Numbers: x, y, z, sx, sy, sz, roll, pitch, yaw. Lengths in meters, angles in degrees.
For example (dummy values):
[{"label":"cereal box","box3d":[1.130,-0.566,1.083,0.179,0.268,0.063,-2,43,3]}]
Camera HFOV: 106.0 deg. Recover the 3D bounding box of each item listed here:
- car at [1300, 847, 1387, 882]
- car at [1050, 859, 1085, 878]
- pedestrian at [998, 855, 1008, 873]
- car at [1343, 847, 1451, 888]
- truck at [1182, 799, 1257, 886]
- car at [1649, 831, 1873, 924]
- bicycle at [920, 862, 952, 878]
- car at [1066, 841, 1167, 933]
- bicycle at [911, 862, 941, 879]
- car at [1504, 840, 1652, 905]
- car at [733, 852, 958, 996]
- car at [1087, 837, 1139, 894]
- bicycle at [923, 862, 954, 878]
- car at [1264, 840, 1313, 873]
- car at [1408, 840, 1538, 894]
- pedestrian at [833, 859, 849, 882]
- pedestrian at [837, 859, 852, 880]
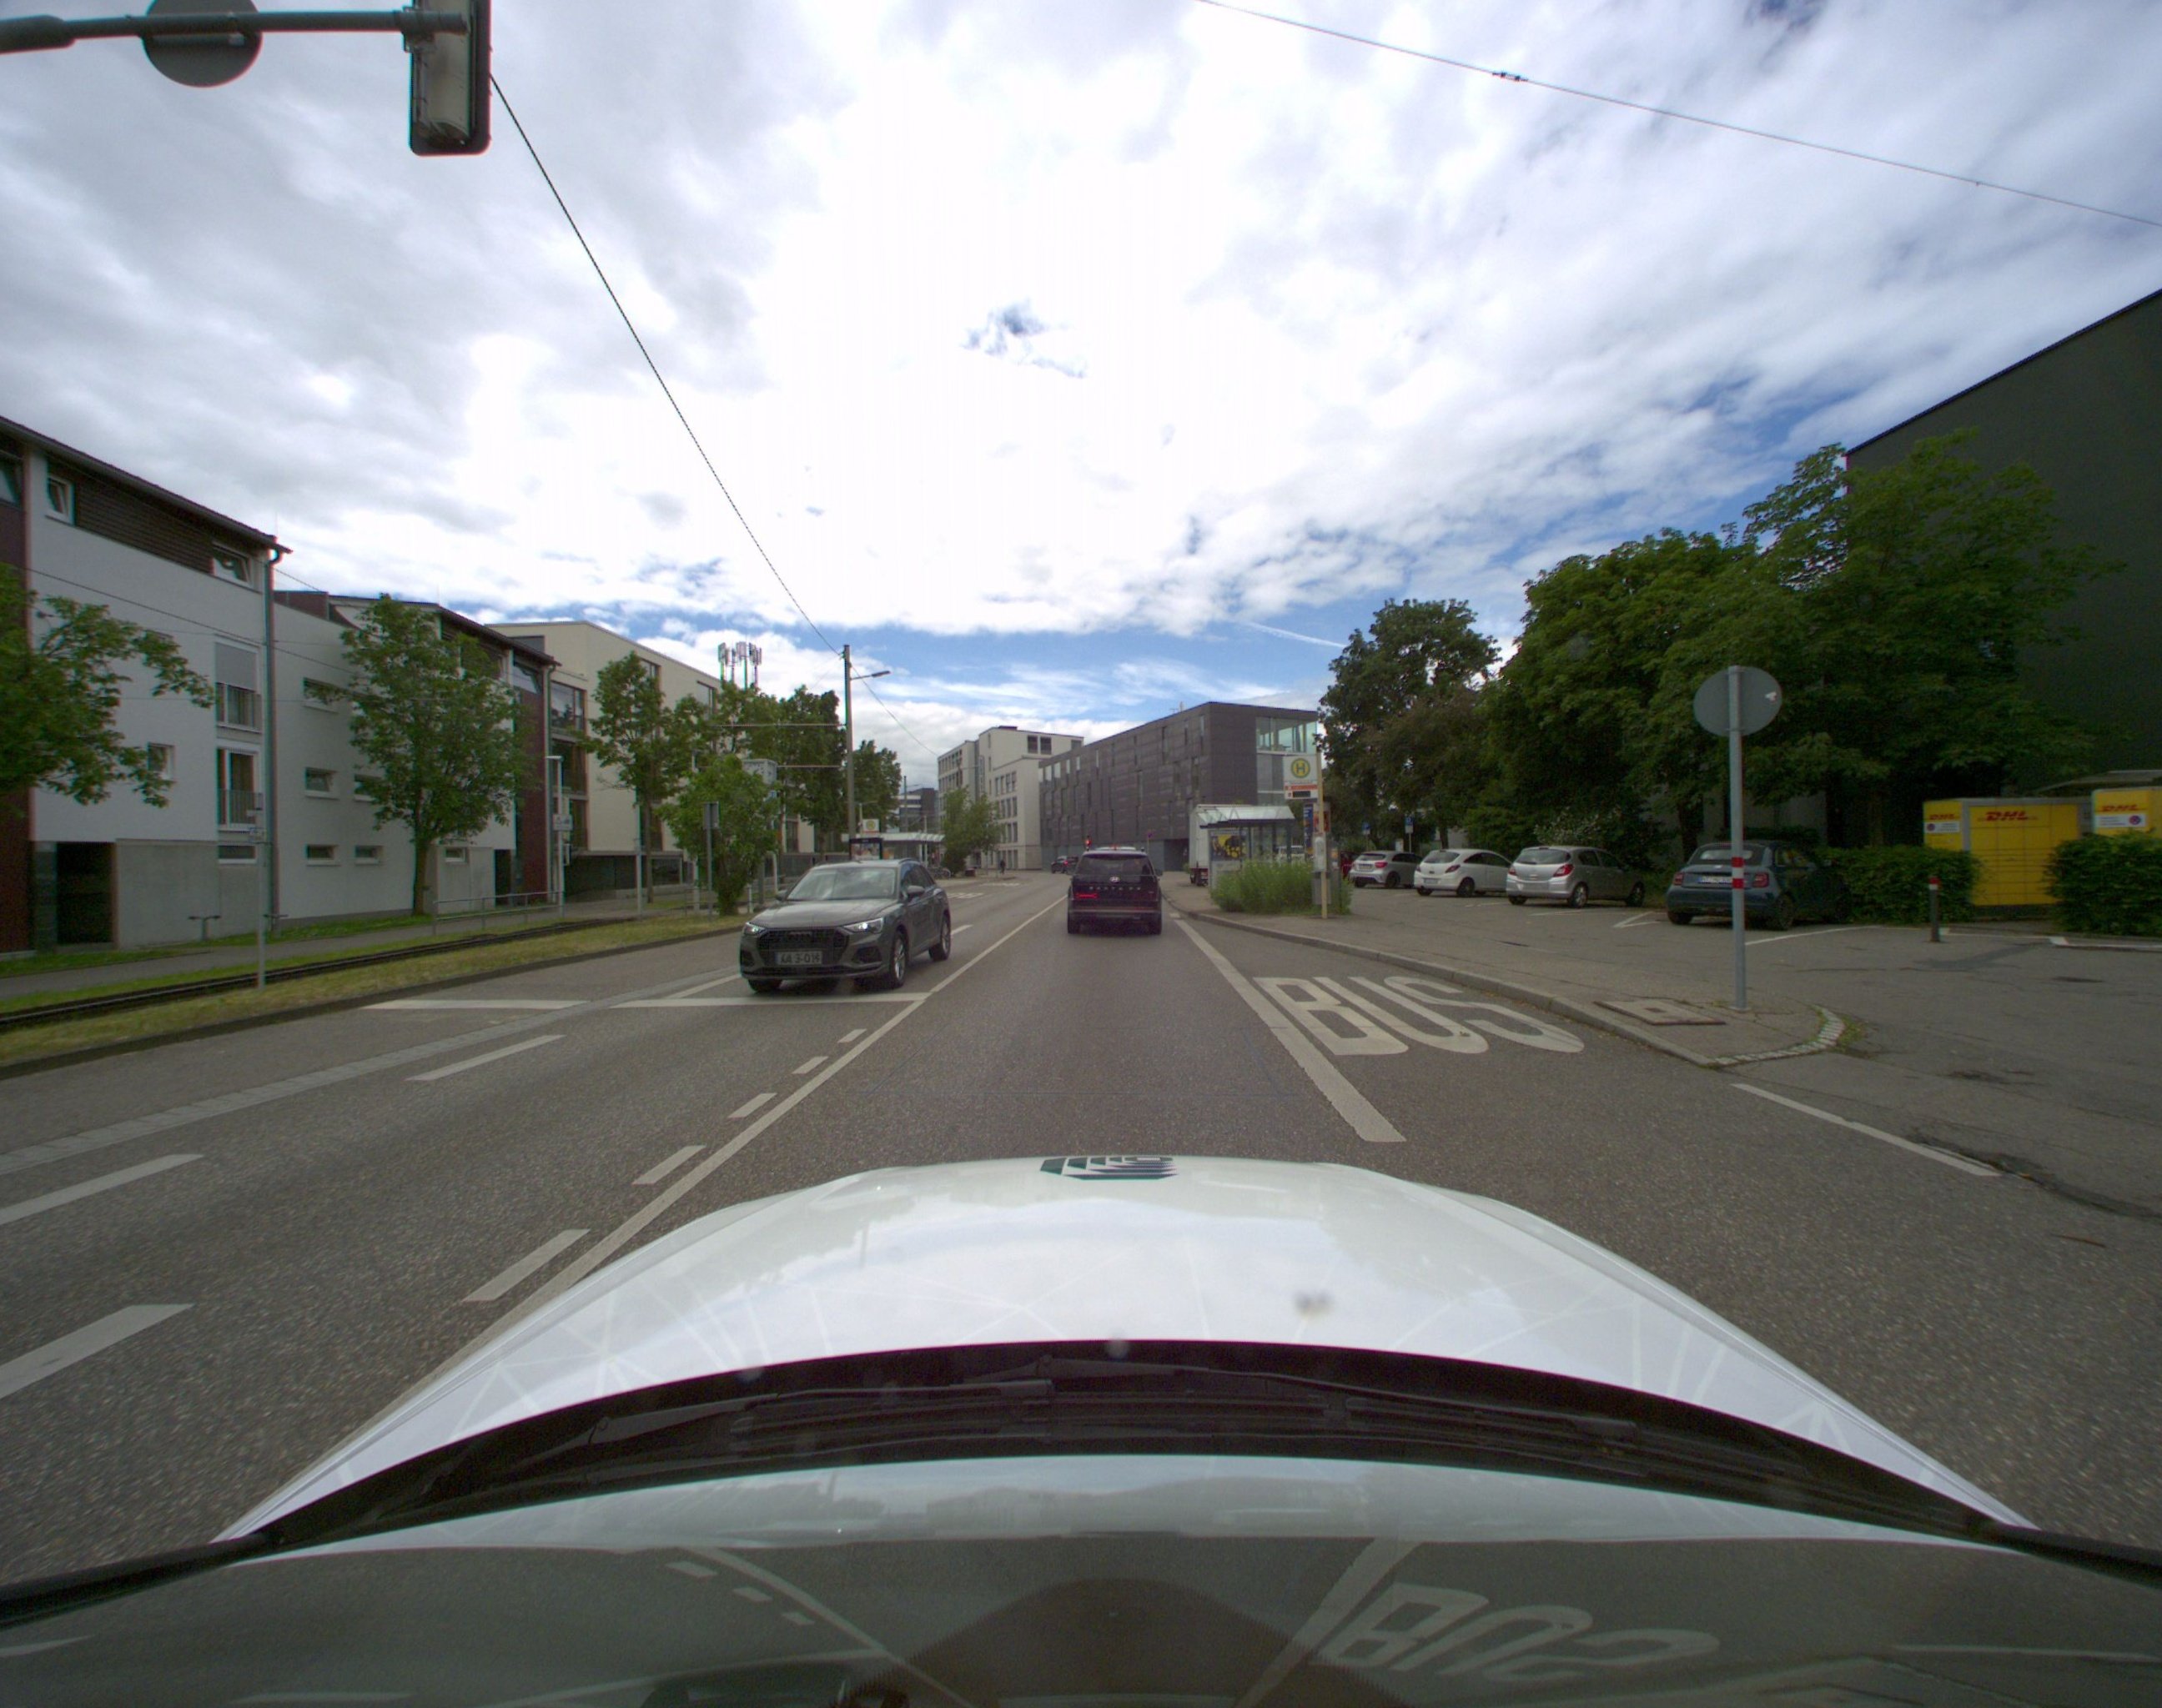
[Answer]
[{"label":"car","box3d":[11.657,0.469,36.209,3.510,1.455,1.666,0,-1,-26]},{"label":"car","box3d":[-1.313,1.404,77.311,1.855,1.677,4.343,-2,-1,-21]},{"label":"pedestrian","box3d":[-7.882,0.982,81.873,0.938,1.801,0.589,-2,0,-9]},{"label":"car","box3d":[12.007,0.512,30.936,3.812,1.474,1.782,1,-1,-28]},{"label":"truck","box3d":[6.190,-0.476,37.516,2.562,3.525,7.818,-2,0,4]},{"label":"car","box3d":[12.448,0.363,14.878,4.012,1.477,1.862,-1,-1,-30]},{"label":"bicycle","box3d":[-10.175,1.143,57.038,2.090,1.106,0.632,0,0,3]},{"label":"car","box3d":[0.682,0.629,17.431,1.909,1.725,4.170,0,0,0]},{"label":"bicycle","box3d":[-10.431,1.105,54.819,1.920,1.106,0.588,0,0,3]},{"label":"car","box3d":[12.202,0.407,19.963,3.526,1.378,1.533,-2,2,-29]},{"label":"car","box3d":[-2.971,0.802,11.272,1.733,1.559,4.185,-2,0,2]},{"label":"car","box3d":[1.269,0.407,32.248,1.848,2.033,4.439,-2,0,2]},{"label":"bicycle","box3d":[-10.096,1.156,57.784,2.089,1.106,0.632,0,0,4]},{"label":"car","box3d":[12.851,0.180,50.779,1.986,1.838,4.520,-3,-1,2]},{"label":"car","box3d":[12.017,0.393,24.959,3.656,1.435,1.578,-3,-1,-25]},{"label":"pedestrian","box3d":[-17.978,1.233,60.999,0.916,1.719,0.907,-1,-1,1]},{"label":"pedestrian","box3d":[-20.039,1.303,69.056,0.916,1.719,0.907,-1,-1,1]}]
